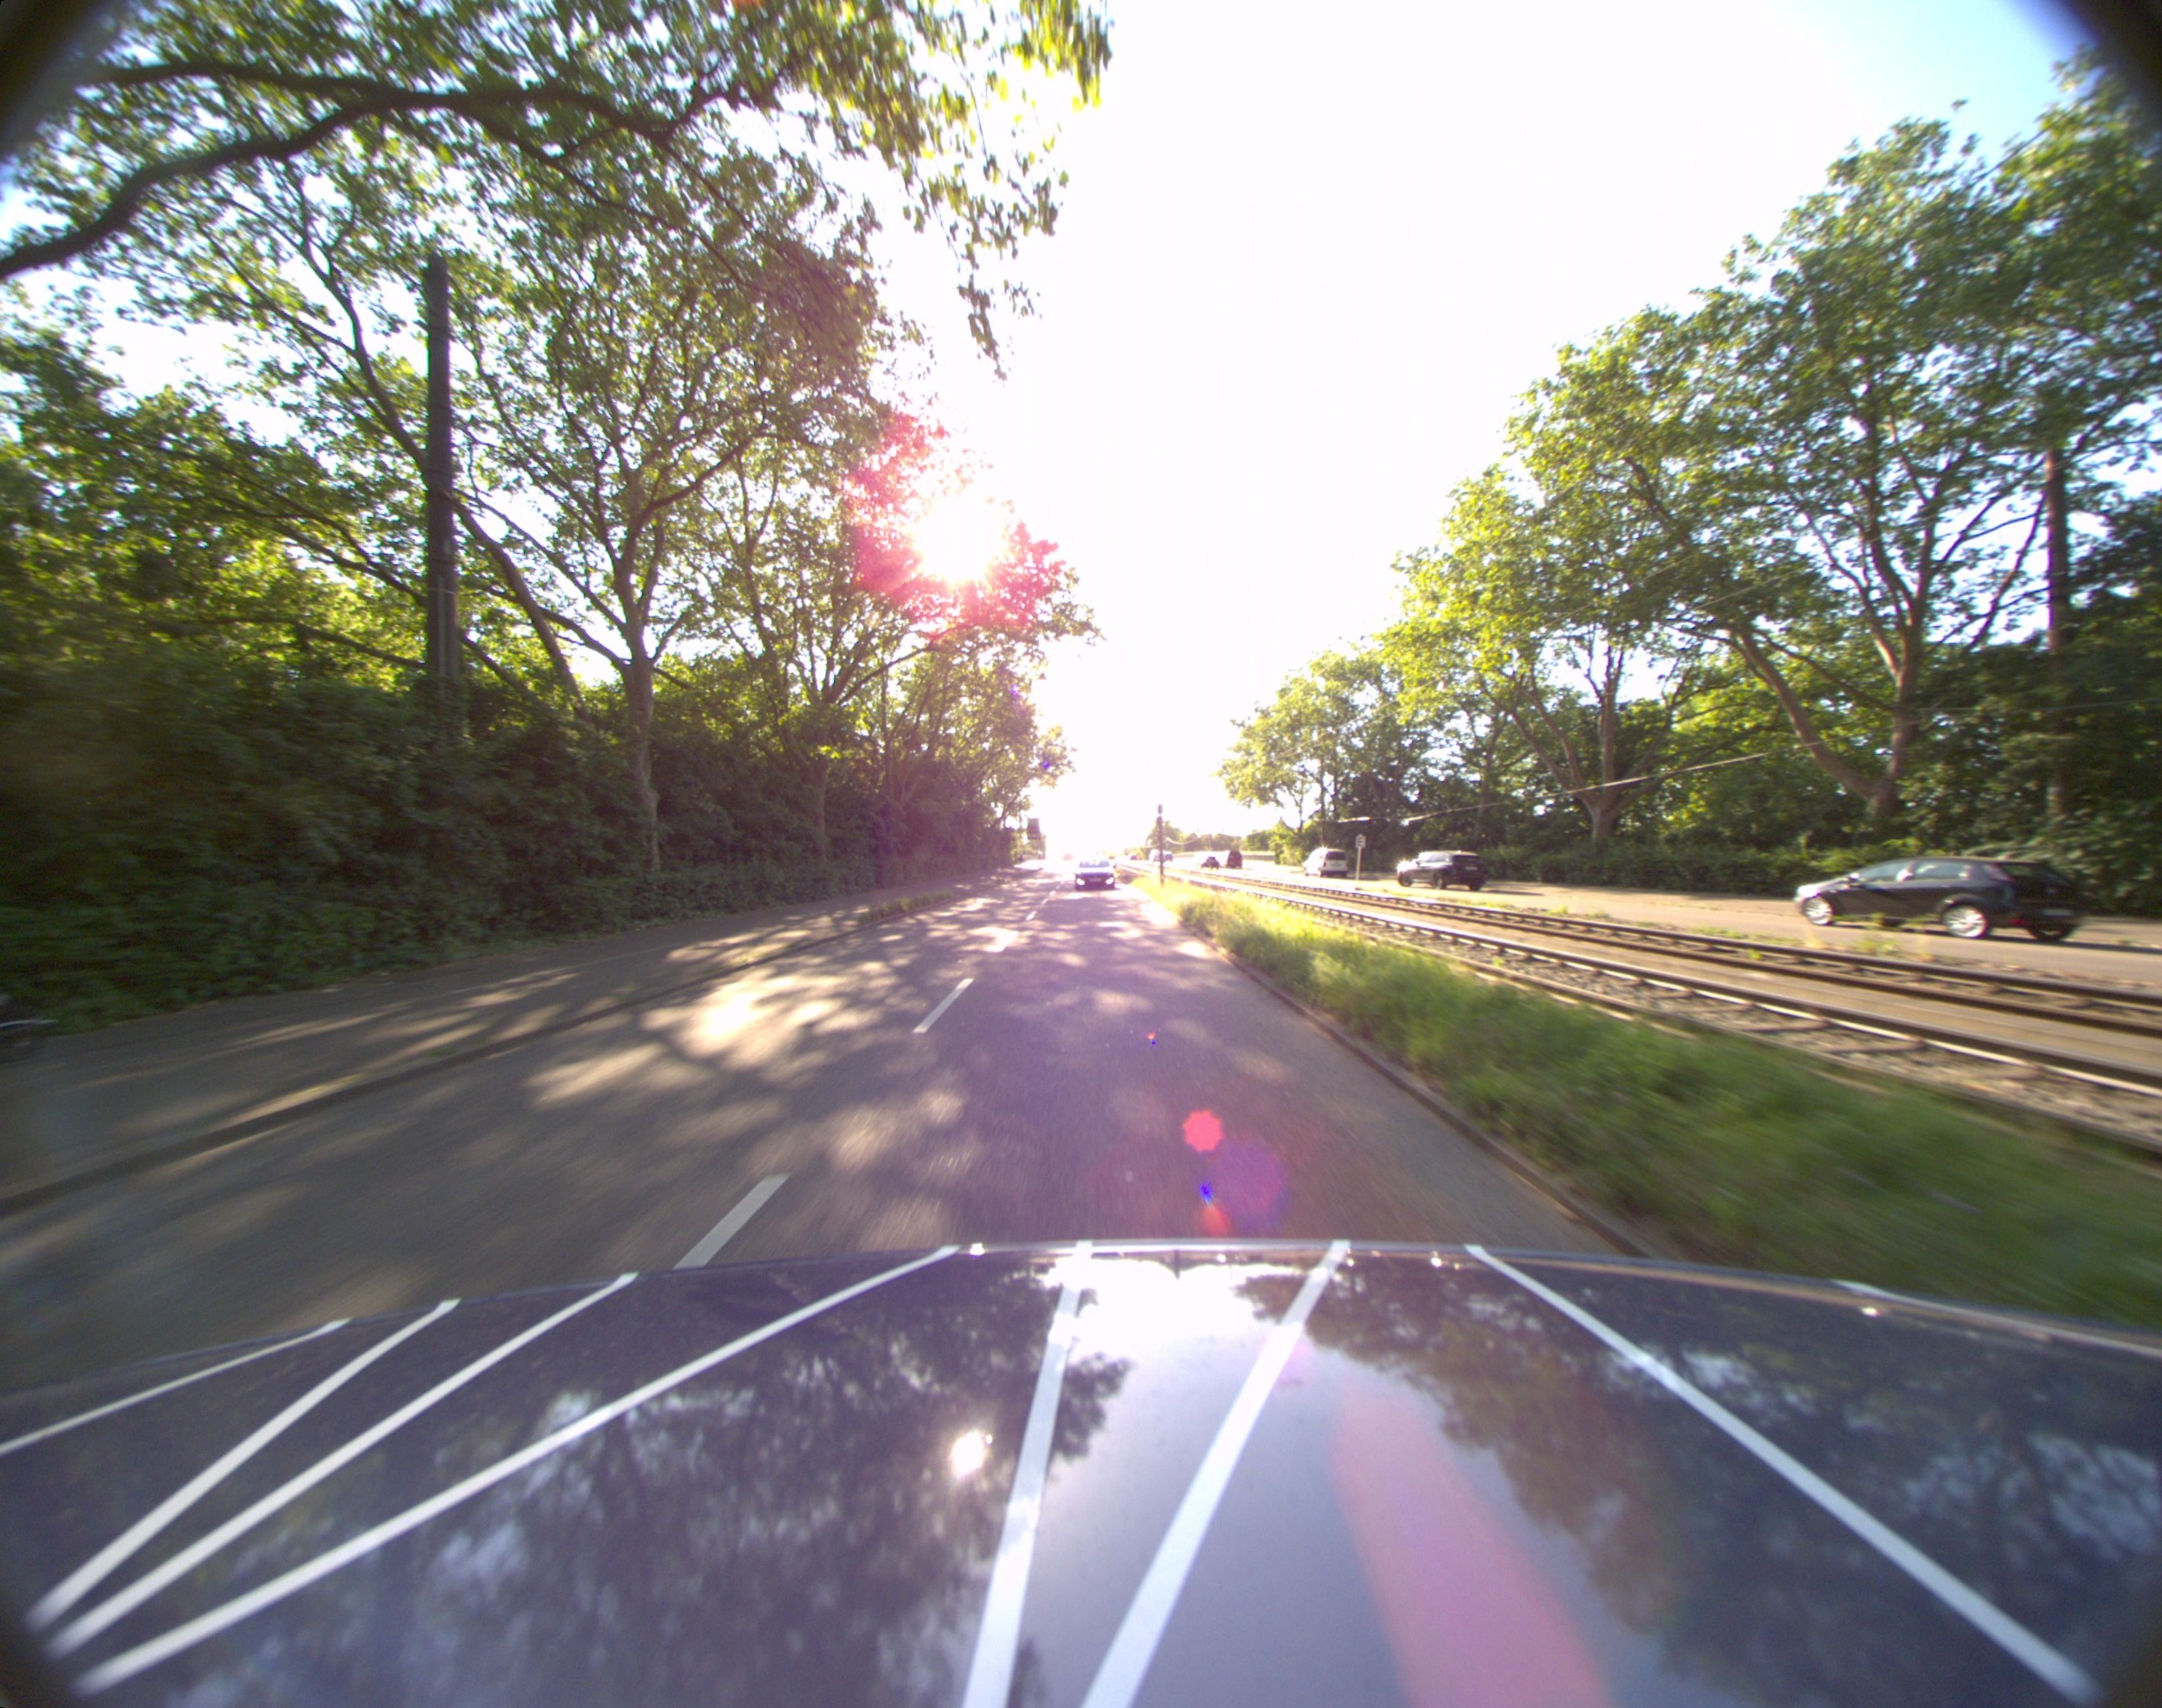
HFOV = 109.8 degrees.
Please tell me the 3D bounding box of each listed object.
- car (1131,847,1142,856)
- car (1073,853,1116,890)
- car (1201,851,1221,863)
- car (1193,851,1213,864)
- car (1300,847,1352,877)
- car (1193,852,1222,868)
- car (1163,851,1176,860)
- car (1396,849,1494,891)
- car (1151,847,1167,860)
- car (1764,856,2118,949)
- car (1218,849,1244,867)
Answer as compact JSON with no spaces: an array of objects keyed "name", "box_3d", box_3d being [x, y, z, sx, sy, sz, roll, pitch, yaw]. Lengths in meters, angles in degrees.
[{"name":"car","box_3d":[11.946,-0.533,162.991,1.988,1.841,4.961,0,1,-1]},{"name":"car","box_3d":[0.556,0.764,34.949,1.799,1.501,4.000,-2,0,-1]},{"name":"car","box_3d":[15.112,0.333,88.555,1.658,1.434,3.784,0,1,-2]},{"name":"car","box_3d":[15.073,0.394,94.049,1.659,1.491,3.924,0,1,-3]},{"name":"car","box_3d":[15.903,0.496,49.570,1.832,1.830,4.393,0,1,-3]},{"name":"car","box_3d":[12.207,0.532,73.549,1.925,1.407,4.748,1,0,-2]},{"name":"car","box_3d":[15.191,0.253,130.430,1.658,1.491,3.924,0,1,-1]},{"name":"car","box_3d":[15.971,0.657,33.631,1.833,1.709,4.391,0,1,-7]},{"name":"car","box_3d":[11.687,-0.091,113.739,1.832,1.841,5.035,0,1,-1]},{"name":"car","box_3d":[16.313,0.824,14.856,1.832,1.496,4.393,0,1,-3]},{"name":"car","box_3d":[15.265,0.384,77.693,1.735,1.730,3.898,0,1,-3]}]
